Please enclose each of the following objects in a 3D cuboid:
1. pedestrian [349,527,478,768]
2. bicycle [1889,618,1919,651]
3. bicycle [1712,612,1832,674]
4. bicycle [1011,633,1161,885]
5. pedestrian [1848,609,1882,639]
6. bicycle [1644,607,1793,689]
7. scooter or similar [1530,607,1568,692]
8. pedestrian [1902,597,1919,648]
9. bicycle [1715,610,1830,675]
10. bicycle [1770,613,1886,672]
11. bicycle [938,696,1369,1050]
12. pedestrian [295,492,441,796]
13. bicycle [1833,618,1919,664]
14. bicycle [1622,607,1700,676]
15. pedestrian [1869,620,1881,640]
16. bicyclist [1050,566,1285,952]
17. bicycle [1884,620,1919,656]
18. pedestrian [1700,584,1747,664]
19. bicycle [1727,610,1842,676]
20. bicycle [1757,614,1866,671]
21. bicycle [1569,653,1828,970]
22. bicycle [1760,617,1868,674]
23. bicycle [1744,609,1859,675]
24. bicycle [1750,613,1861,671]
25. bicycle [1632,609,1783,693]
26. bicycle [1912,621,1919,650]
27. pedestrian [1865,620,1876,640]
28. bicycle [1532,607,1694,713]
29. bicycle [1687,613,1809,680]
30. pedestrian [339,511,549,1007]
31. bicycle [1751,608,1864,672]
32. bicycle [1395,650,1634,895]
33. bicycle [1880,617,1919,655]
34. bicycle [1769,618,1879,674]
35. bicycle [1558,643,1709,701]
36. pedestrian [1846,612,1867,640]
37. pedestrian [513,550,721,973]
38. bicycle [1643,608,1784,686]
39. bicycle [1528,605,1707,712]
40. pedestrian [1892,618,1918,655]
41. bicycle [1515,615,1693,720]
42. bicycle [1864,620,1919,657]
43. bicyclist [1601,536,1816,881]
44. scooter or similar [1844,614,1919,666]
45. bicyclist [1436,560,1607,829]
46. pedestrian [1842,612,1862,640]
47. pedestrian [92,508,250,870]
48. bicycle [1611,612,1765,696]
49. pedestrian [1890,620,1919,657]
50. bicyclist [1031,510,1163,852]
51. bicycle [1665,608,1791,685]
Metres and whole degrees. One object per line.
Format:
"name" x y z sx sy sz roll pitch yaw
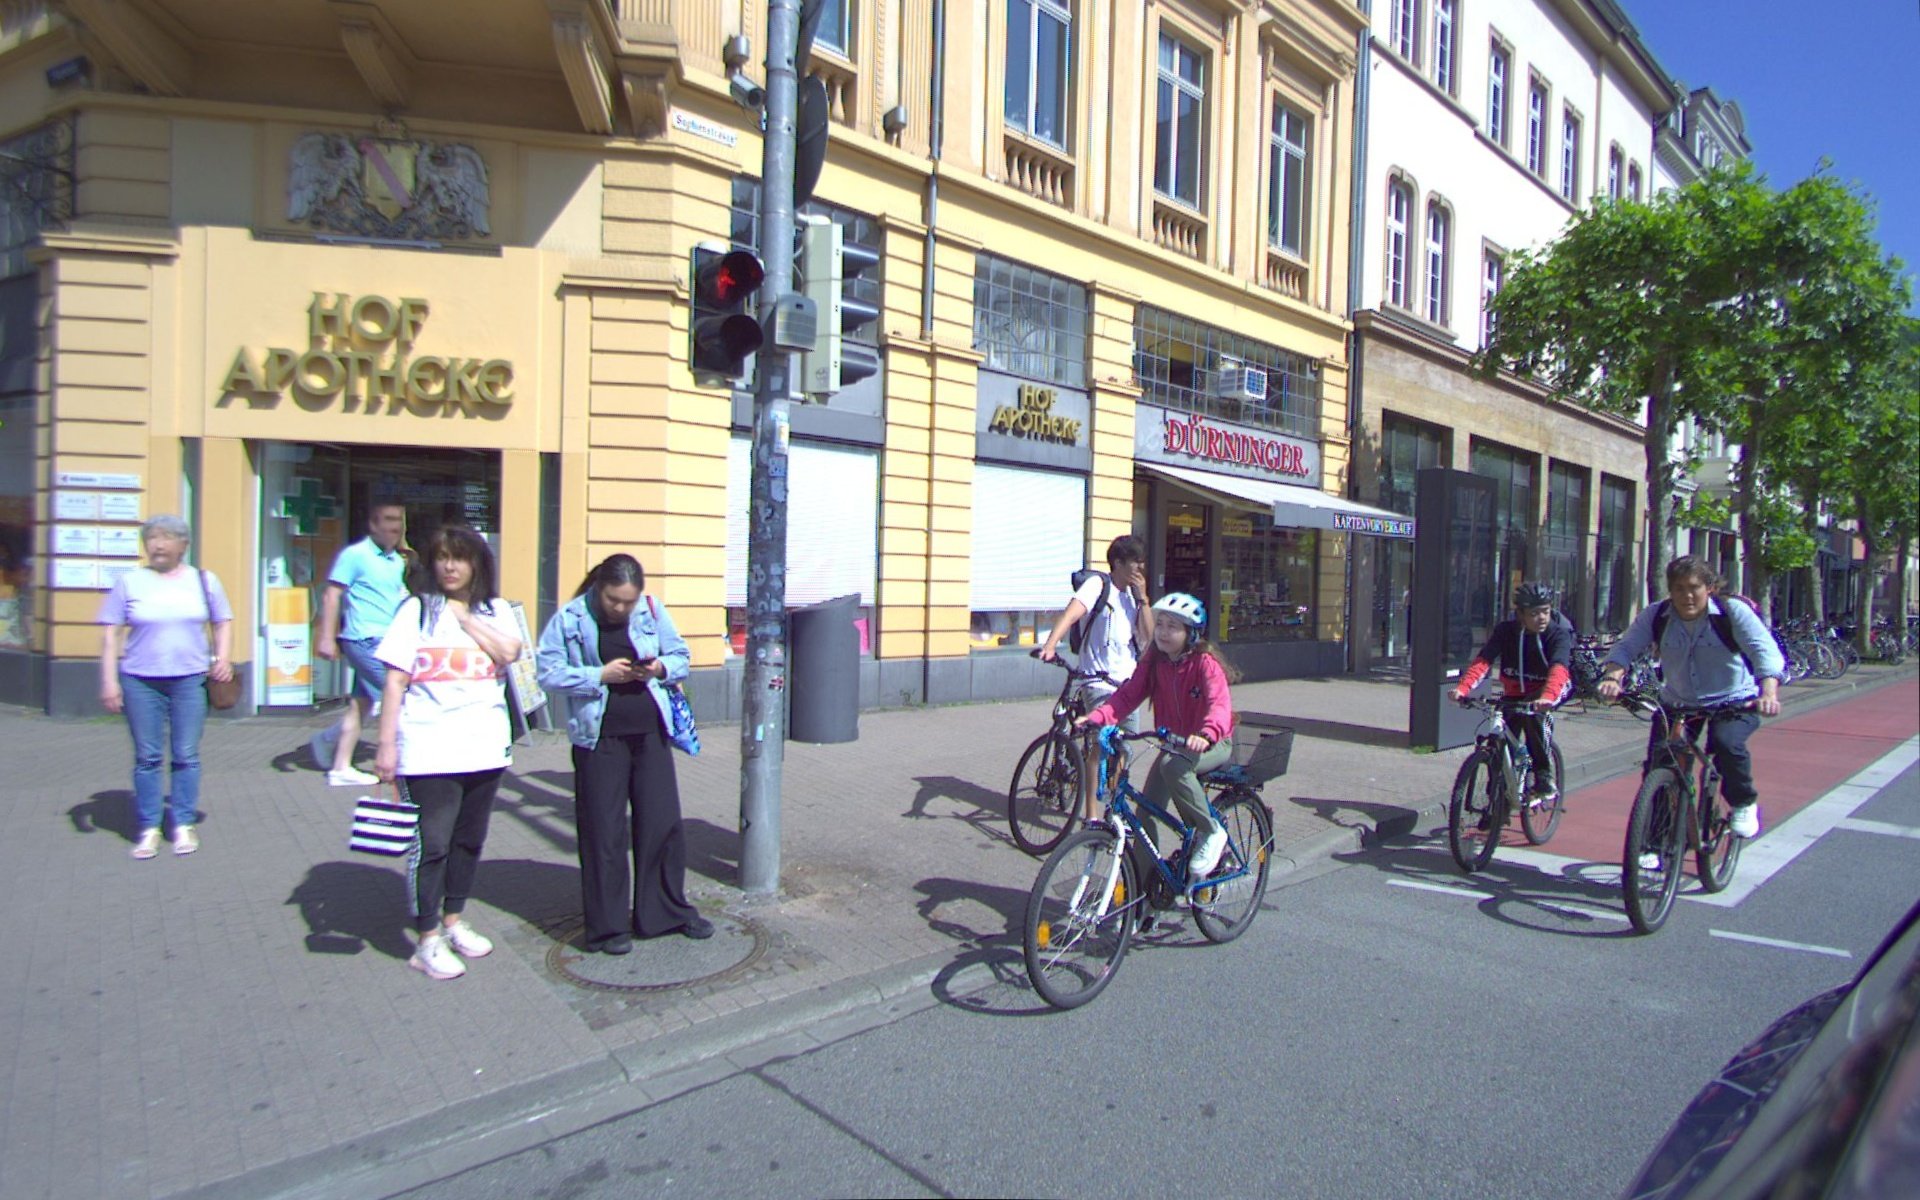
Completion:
"pedestrian" -3.796 0.307 7.061 0.541 1.588 0.588 2 2 5
"bicycle" 36.431 1.327 38.284 1.760 1.212 0.573 1 0 23
"bicycle" 15.932 0.826 19.890 0.595 1.108 1.733 1 1 -38
"bicycle" 0.798 0.814 5.932 0.593 1.095 1.832 4 2 14
"pedestrian" 47.496 1.240 53.095 0.823 1.502 1.253 1 1 -43
"bicycle" 12.373 0.751 16.562 0.535 1.216 1.849 1 1 -38
"scooter or similar" 8.806 0.717 15.159 0.418 1.193 1.219 1 0 28
"pedestrian" 32.575 0.774 34.493 0.829 1.711 0.639 2 -2 -43
"bicycle" 16.256 0.828 20.285 0.469 1.176 1.733 1 1 -38
"bicycle" 20.198 0.960 23.576 0.722 1.264 1.936 1 1 -38
"bicycle" 0.886 0.956 4.133 2.051 0.937 0.601 0 1 -42
"pedestrian" -3.744 0.255 6.427 0.541 1.823 0.588 2 2 5
"bicycle" 25.515 1.108 28.084 0.657 1.201 1.846 1 0 -35
"bicycle" 12.701 0.742 18.334 1.621 1.203 0.475 1 0 -29
"pedestrian" 45.646 1.509 50.464 0.429 0.980 0.365 2 0 -39
"bicyclist" 0.836 0.561 4.069 0.708 1.374 0.601 0 1 -42
"bicycle" 31.373 1.245 32.964 0.487 1.141 1.848 1 0 -29
"pedestrian" 15.980 0.492 21.185 0.731 1.632 0.616 1 0 -40
"bicycle" 16.685 0.849 20.515 0.469 1.232 1.733 1 1 -38
"bicycle" 18.241 0.892 21.710 0.395 1.123 1.733 1 1 -38
"bicycle" 3.639 0.872 4.905 2.047 1.141 0.699 1 0 -45
"bicycle" 18.529 0.975 21.998 0.395 1.123 1.733 1 1 -38
"bicycle" 17.167 0.827 20.691 0.469 1.232 1.733 1 1 -38
"bicycle" 17.909 0.860 21.465 0.469 1.123 1.733 1 1 -38
"bicycle" 11.975 0.779 16.262 0.597 1.216 1.849 1 1 -38
"bicycle" 37.967 1.376 38.997 1.838 1.141 0.490 0 -3 42
"pedestrian" 45.090 1.484 50.109 0.429 0.980 0.342 2 0 -39
"bicycle" 8.977 0.788 14.004 1.811 1.325 0.682 2 0 30
"bicycle" 14.321 0.816 18.429 0.595 1.108 1.653 1 1 -38
"pedestrian" -1.916 0.518 3.746 0.578 1.651 0.550 1 2 -38
"bicycle" 17.698 0.810 21.167 0.469 1.232 1.733 1 1 -38
"bicycle" 3.373 0.915 6.051 2.047 1.141 0.699 1 0 -45
"bicycle" 32.054 1.210 33.783 0.660 1.212 1.847 1 0 -33
"bicycle" 19.190 0.995 22.512 0.722 1.123 1.733 1 1 -38
"bicycle" 10.214 1.080 15.429 1.833 0.724 0.652 2 1 29
"pedestrian" 44.512 1.278 50.255 0.523 1.355 0.682 2 1 -43
"pedestrian" -1.388 0.582 4.079 0.630 1.540 0.524 1 2 -38
"bicycle" 12.814 0.770 17.267 0.465 1.216 1.849 1 1 -38
"bicycle" 8.657 0.732 13.426 1.923 1.273 0.697 2 0 31
"pedestrian" 33.976 1.303 36.368 0.587 1.248 0.640 0 1 -43
"bicycle" 8.100 0.810 12.790 0.553 1.136 1.784 1 2 -43
"bicycle" 29.988 1.232 32.086 0.779 1.111 1.846 1 0 -35
"bicyclist" 3.624 0.461 4.885 0.945 1.464 0.699 1 -1 -44
"scooter or similar" 24.124 1.029 26.403 0.656 1.290 1.481 1 0 -29
"bicyclist" 3.342 0.513 6.021 0.777 1.459 0.699 1 -1 -44
"pedestrian" 44.020 1.276 49.929 0.523 1.349 0.682 2 0 -43
"pedestrian" -3.903 0.398 5.027 0.578 1.660 0.550 1 2 -38
"bicycle" 11.433 0.808 15.944 0.647 1.178 1.849 1 1 -38
"pedestrian" 33.548 1.358 35.902 0.566 1.258 0.788 0 1 -43
"bicyclist" 0.823 0.422 5.931 0.567 1.819 0.853 4 2 14
"bicycle" 13.202 0.773 17.437 0.465 1.216 1.653 1 0 -38
